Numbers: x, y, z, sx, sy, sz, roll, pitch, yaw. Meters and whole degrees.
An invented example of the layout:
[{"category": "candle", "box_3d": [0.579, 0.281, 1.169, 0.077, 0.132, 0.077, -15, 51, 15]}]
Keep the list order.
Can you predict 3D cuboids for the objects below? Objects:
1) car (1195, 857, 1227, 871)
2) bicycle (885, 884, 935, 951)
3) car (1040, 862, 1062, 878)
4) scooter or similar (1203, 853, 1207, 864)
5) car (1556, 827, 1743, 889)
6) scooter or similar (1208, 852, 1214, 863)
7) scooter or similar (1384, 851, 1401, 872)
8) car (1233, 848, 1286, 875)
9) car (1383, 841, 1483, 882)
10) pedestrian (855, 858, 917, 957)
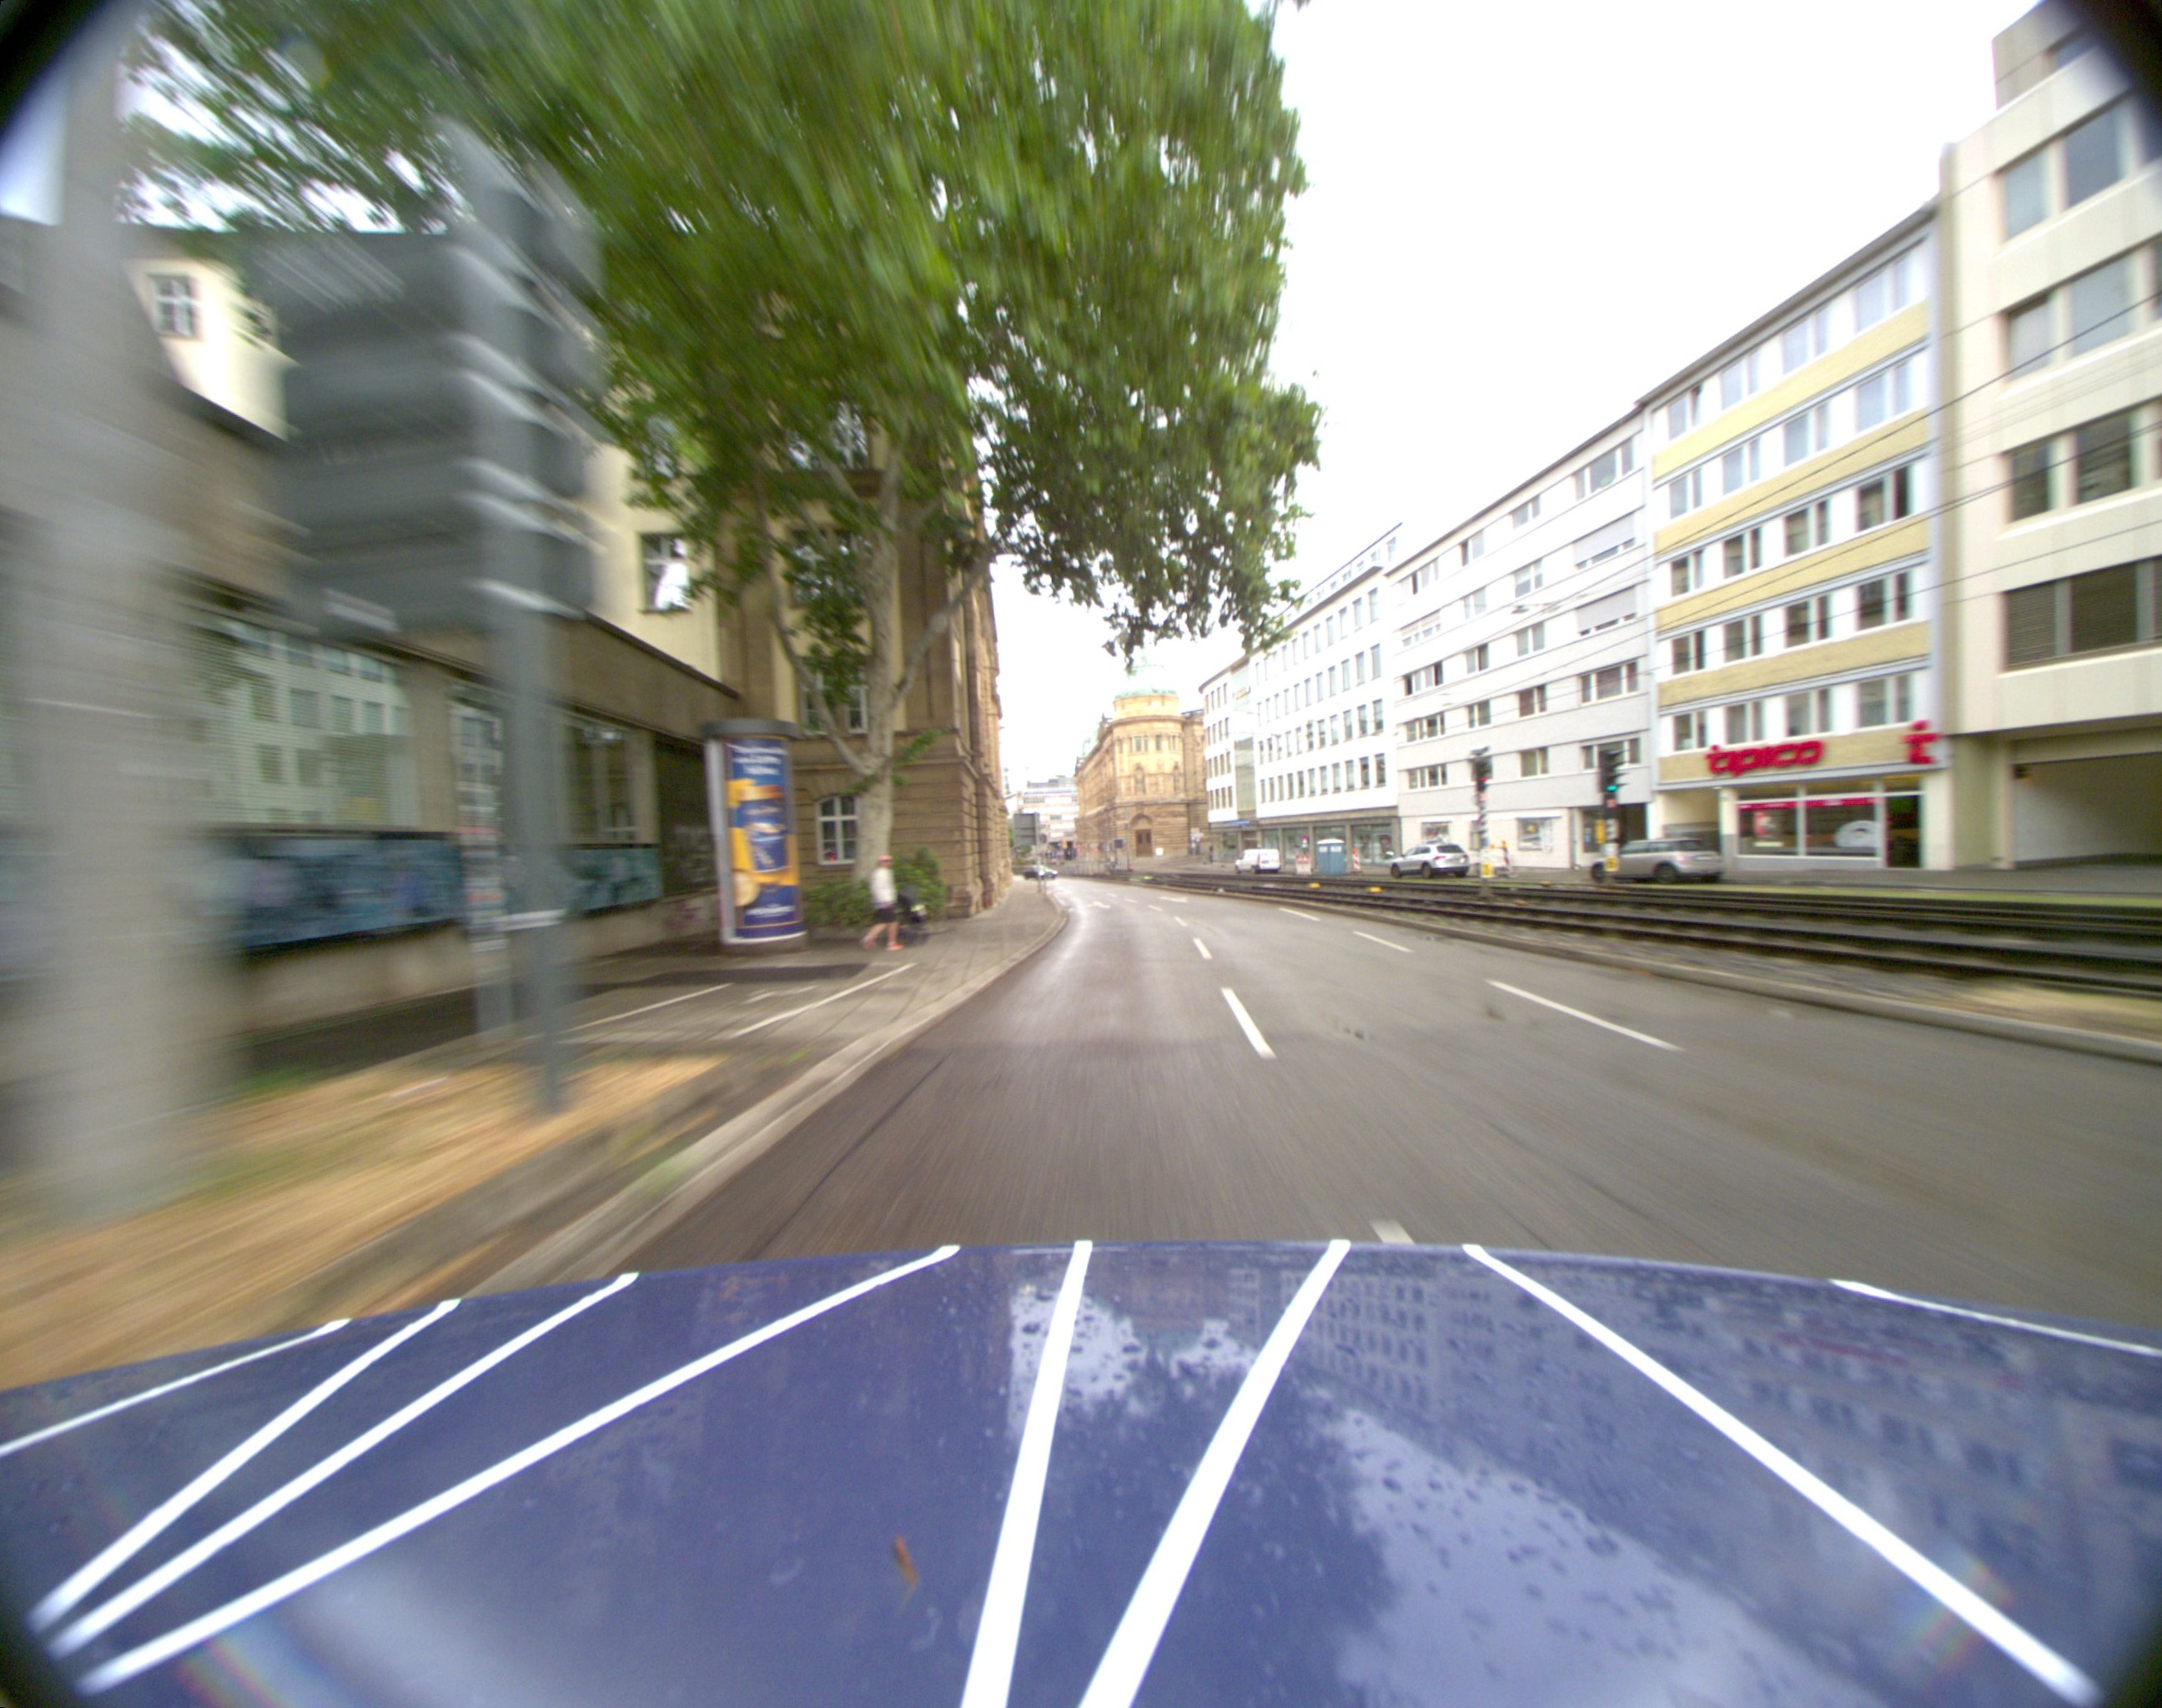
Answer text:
[{"category": "car", "box_3d": [16.402, 1.257, 95.465, 1.780, 1.390, 4.334, -3, 2, 43]}, {"category": "bicycle", "box_3d": [-3.325, 1.226, 14.832, 0.620, 1.213, 0.911, -2, 0, 9]}, {"category": "car", "box_3d": [-3.089, 1.636, 76.916, 1.999, 1.458, 4.642, -4, 0, -4]}, {"category": "scooter or similar", "box_3d": [14.058, 0.485, 86.237, 0.410, 1.194, 1.560, -5, 1, 8]}, {"category": "car", "box_3d": [18.063, 0.092, 24.495, 2.000, 1.664, 4.691, -5, 1, -9]}, {"category": "scooter or similar", "box_3d": [14.757, 0.389, 86.116, 0.410, 1.194, 1.561, -4, 2, 15]}, {"category": "scooter or similar", "box_3d": [18.723, 0.431, 45.669, 0.382, 1.196, 0.973, -5, 2, -8]}, {"category": "car", "box_3d": [13.638, 0.508, 58.485, 2.000, 1.832, 5.126, -5, 1, -9]}, {"category": "car", "box_3d": [16.473, 0.375, 35.895, 1.999, 1.664, 4.693, -5, -1, -7]}, {"category": "pedestrian", "box_3d": [-3.537, 0.946, 13.859, 0.719, 1.732, 1.020, -1, 0, 9]}]
